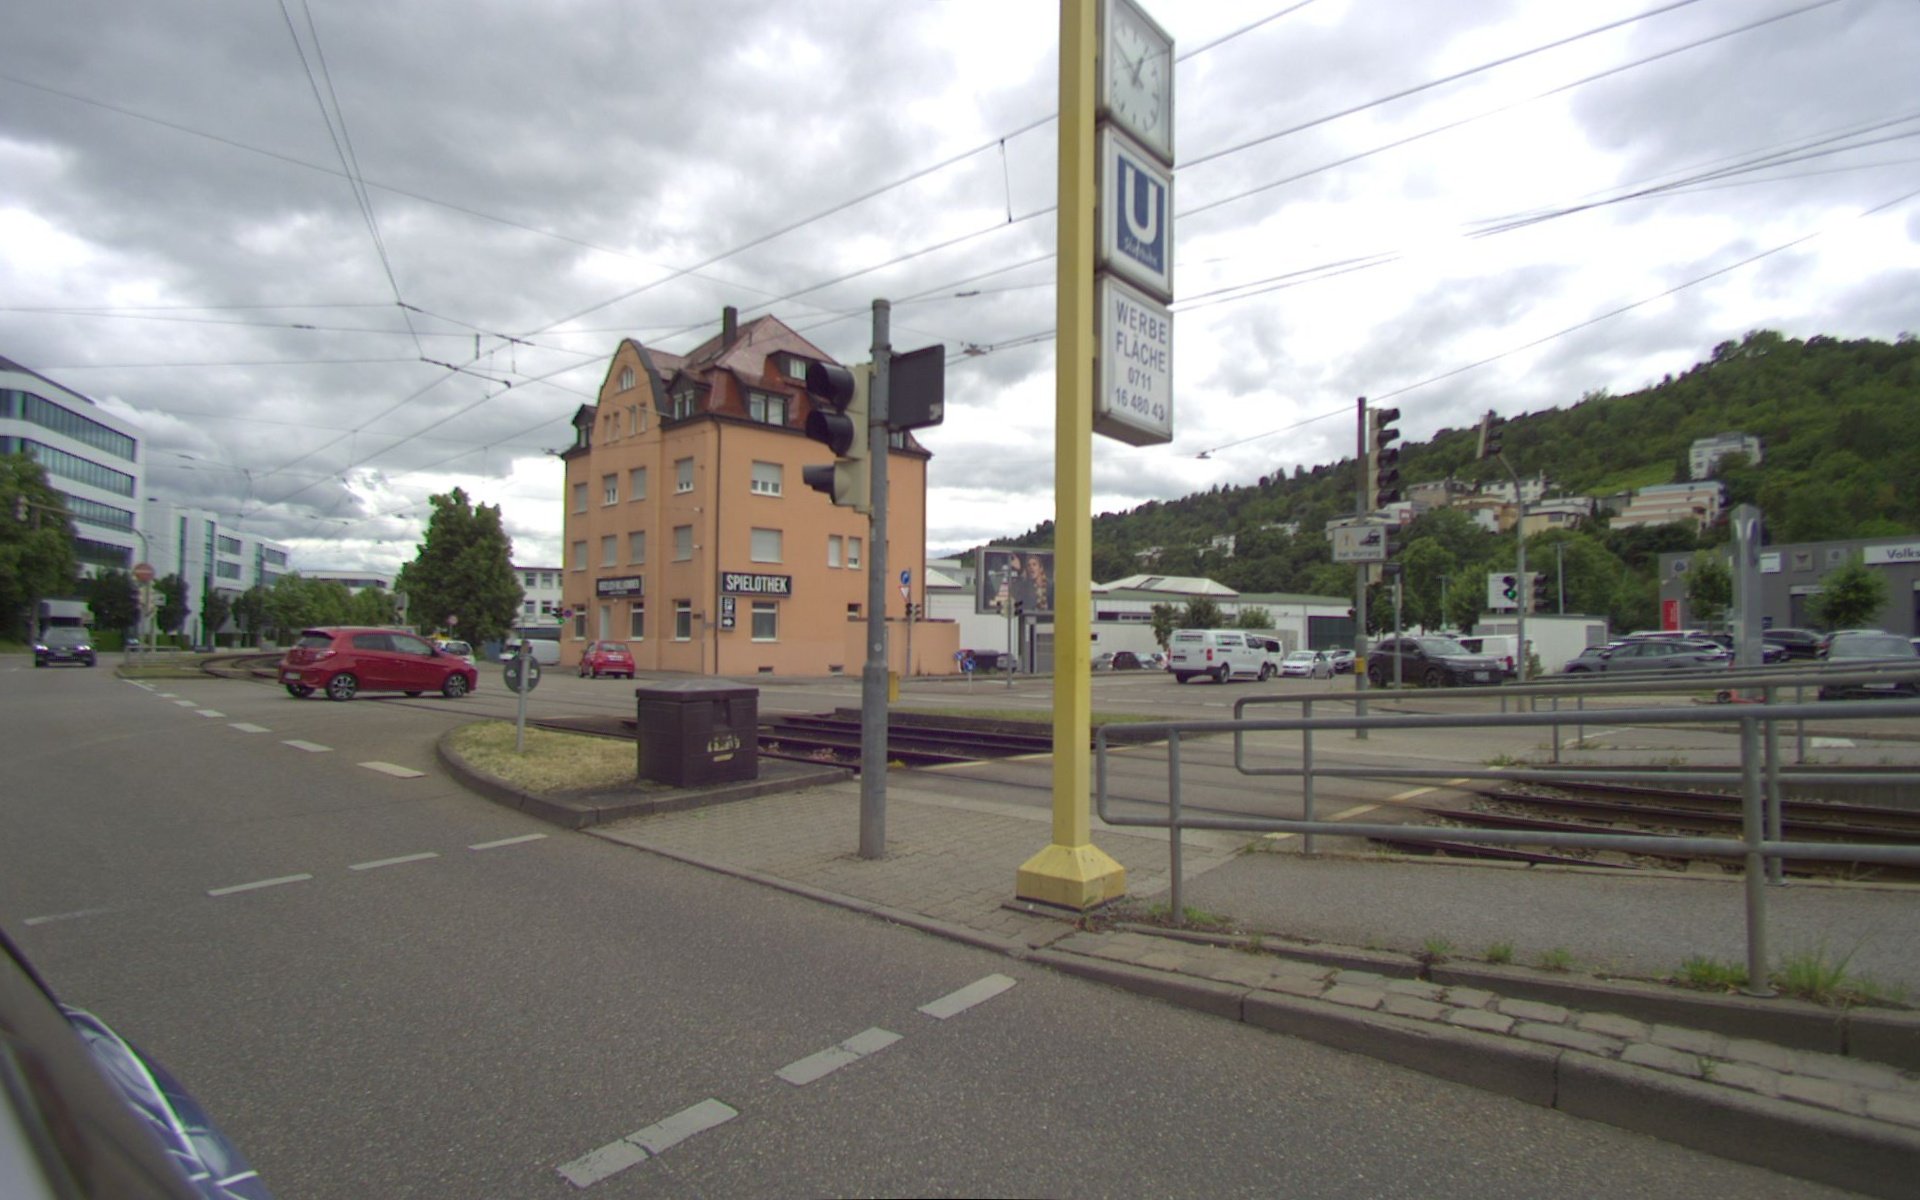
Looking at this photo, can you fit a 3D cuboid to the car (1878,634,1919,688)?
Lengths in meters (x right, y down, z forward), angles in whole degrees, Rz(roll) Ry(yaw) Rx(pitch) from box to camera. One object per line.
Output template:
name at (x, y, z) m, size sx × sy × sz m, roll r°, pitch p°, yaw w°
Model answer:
car at (33.168, 2.124, 32.832) m, size 1.965 × 1.742 × 4.526 m, roll 4°, pitch 0°, yaw -23°

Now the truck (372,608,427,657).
truck at (-30.135, 1.799, 54.577) m, size 2.281 × 2.440 × 5.672 m, roll 4°, pitch -4°, yaw -27°

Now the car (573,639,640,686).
car at (-13.994, 2.420, 39.928) m, size 1.674 × 1.536 × 4.012 m, roll 2°, pitch 0°, yaw -31°

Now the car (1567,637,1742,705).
car at (21.564, 2.166, 31.550) m, size 1.967 × 1.718 × 4.010 m, roll 4°, pitch -1°, yaw -36°

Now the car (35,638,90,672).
car at (-36.859, 2.227, 41.562) m, size 1.604 × 1.342 × 3.178 m, roll 3°, pitch -3°, yaw -42°

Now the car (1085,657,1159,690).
car at (10.591, 4.809, 66.195) m, size 4.433 × 1.853 × 2.006 m, roll 4°, pitch -1°, yaw -31°

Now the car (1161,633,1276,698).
car at (9.615, 2.335, 37.430) m, size 2.006 × 2.056 × 4.761 m, roll 2°, pitch 1°, yaw 45°

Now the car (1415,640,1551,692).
car at (22.088, 2.804, 42.995) m, size 1.965 × 2.029 × 5.034 m, roll 4°, pitch -5°, yaw -22°

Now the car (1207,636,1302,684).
car at (16.034, 3.229, 55.220) m, size 4.500 × 2.259 × 1.977 m, roll 3°, pitch -1°, yaw 35°

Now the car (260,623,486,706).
car at (-12.259, 1.335, 21.345) m, size 1.762 × 1.541 × 3.699 m, roll 1°, pitch -3°, yaw 32°

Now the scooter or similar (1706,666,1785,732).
scooter or similar at (17.215, 2.150, 22.197) m, size 0.566 × 1.297 × 1.208 m, roll 4°, pitch -1°, yaw -32°

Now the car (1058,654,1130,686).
car at (9.072, 4.732, 68.281) m, size 4.433 × 1.853 × 2.006 m, roll 4°, pitch -1°, yaw -30°

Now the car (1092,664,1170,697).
car at (8.600, 4.029, 50.920) m, size 3.563 × 1.497 × 1.584 m, roll -1°, pitch -3°, yaw 36°

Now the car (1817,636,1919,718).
car at (20.691, 1.678, 22.632) m, size 1.996 × 1.652 × 3.951 m, roll 0°, pitch -2°, yaw 36°

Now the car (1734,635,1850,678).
car at (41.294, 2.785, 50.323) m, size 1.821 × 1.807 × 4.014 m, roll 4°, pitch 0°, yaw -24°

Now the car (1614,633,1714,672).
car at (38.045, 2.817, 54.765) m, size 1.821 × 1.807 × 4.014 m, roll 4°, pitch 0°, yaw -24°

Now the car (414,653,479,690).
car at (-24.436, 3.416, 48.140) m, size 3.372 × 1.431 × 1.577 m, roll -9°, pitch -6°, yaw 41°

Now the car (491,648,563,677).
car at (-34.418, 4.927, 80.697) m, size 1.734 × 2.117 × 6.266 m, roll -1°, pitch -2°, yaw 16°

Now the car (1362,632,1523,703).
car at (13.411, 1.815, 28.420) m, size 1.967 × 1.652 × 4.011 m, roll -1°, pitch 1°, yaw -14°
